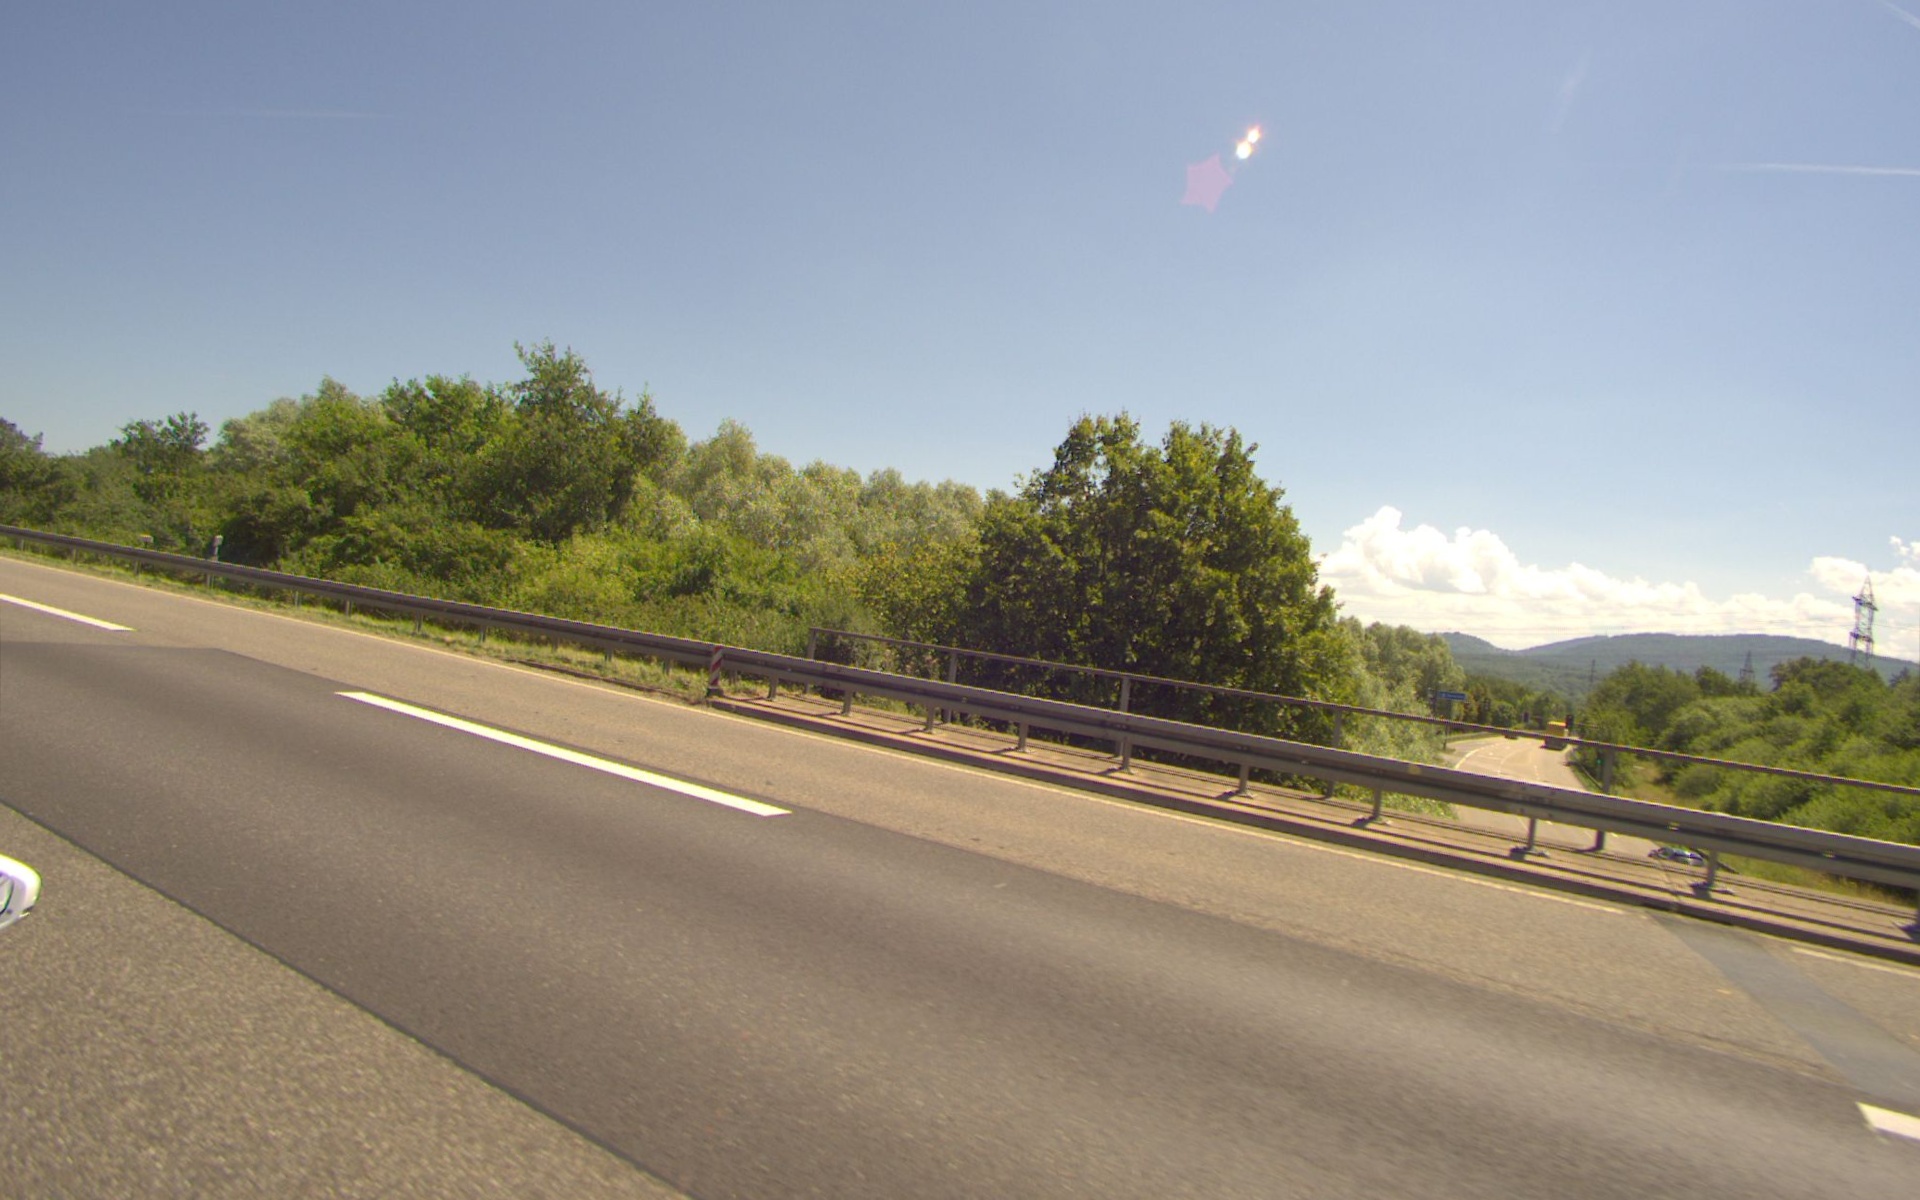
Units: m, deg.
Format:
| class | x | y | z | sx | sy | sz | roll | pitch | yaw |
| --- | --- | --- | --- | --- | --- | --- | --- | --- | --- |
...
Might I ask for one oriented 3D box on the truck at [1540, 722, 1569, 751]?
| class | x | y | z | sx | sy | sz | roll | pitch | yaw |
| --- | --- | --- | --- | --- | --- | --- | --- | --- | --- |
| truck | 94.390 | 21.623 | 159.860 | 3.539 | 3.807 | 8.122 | 7 | -1 | 30 |
